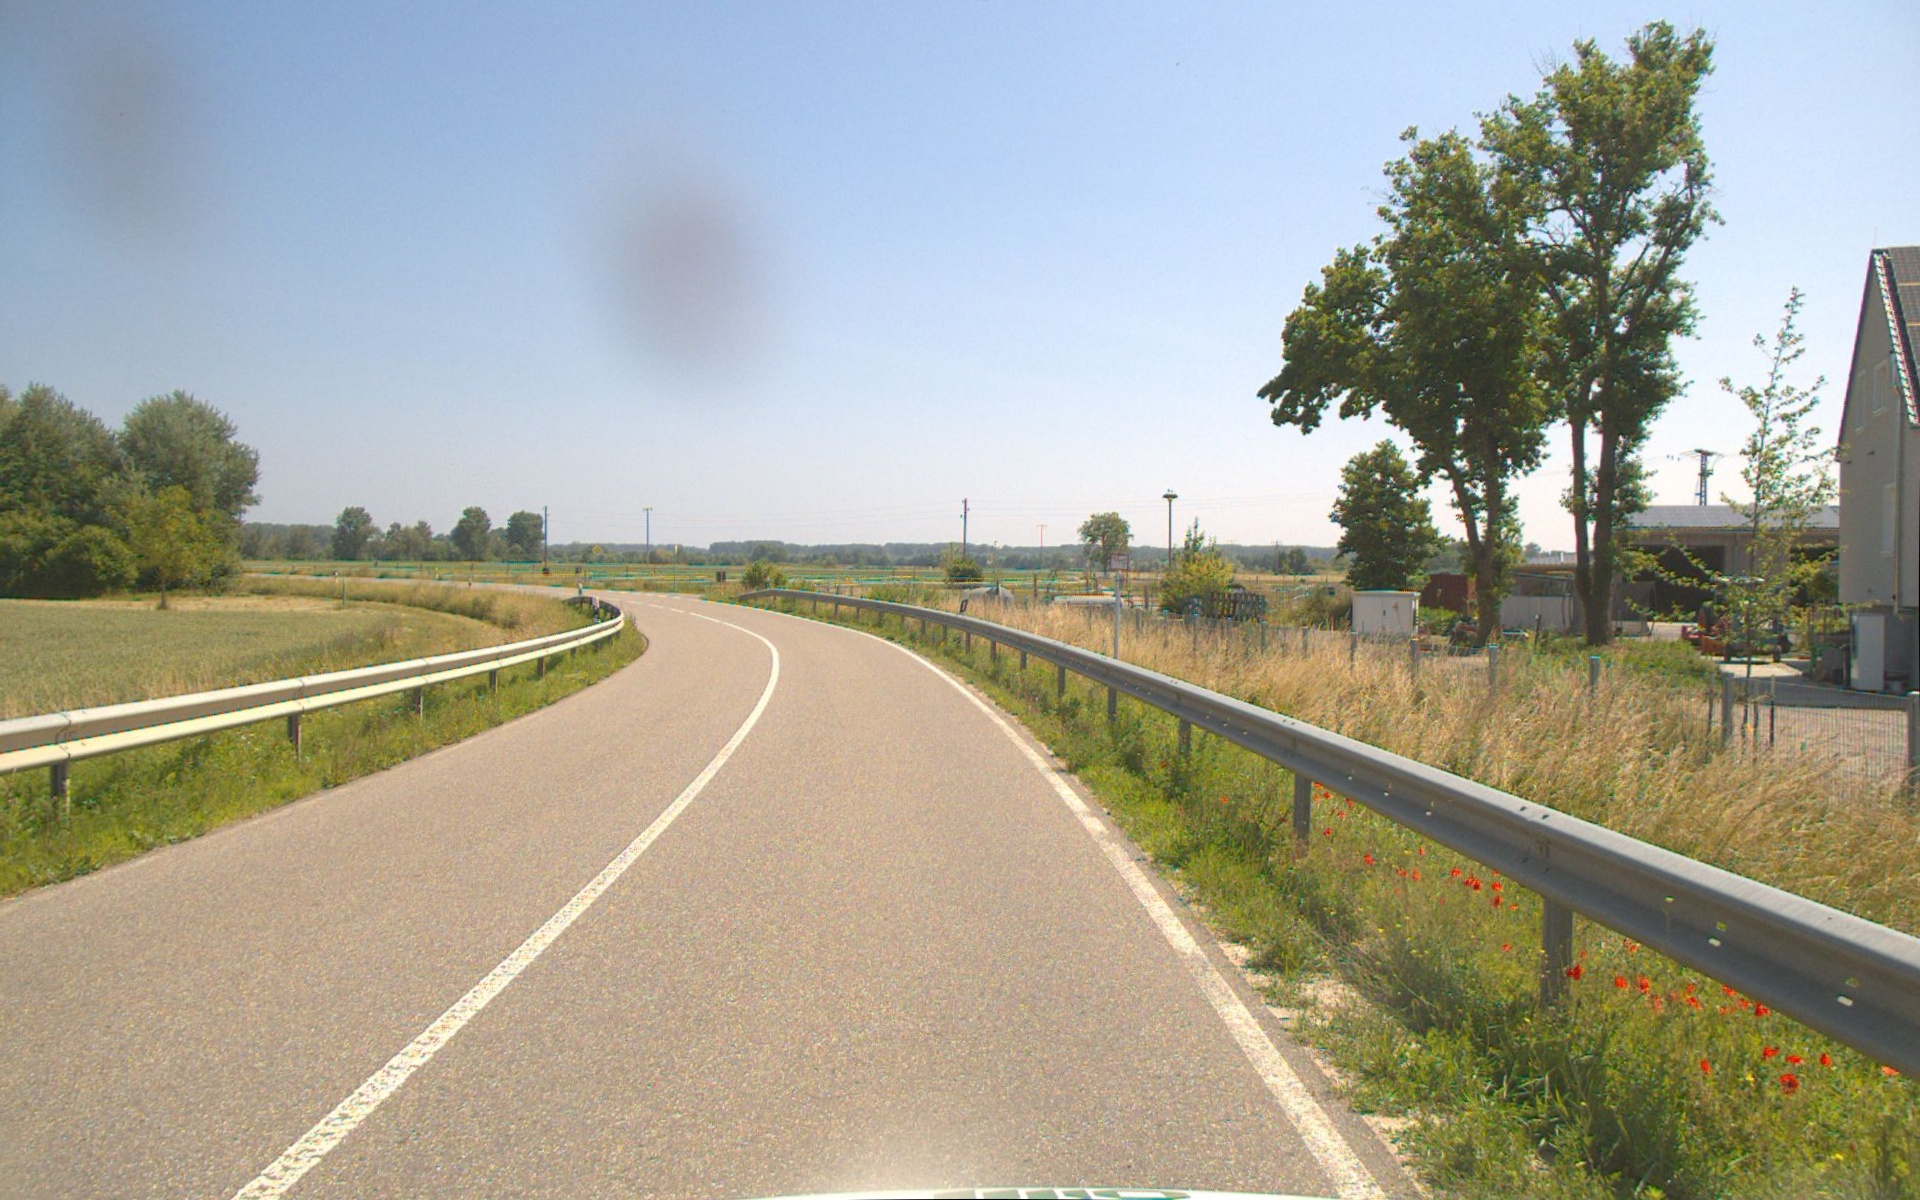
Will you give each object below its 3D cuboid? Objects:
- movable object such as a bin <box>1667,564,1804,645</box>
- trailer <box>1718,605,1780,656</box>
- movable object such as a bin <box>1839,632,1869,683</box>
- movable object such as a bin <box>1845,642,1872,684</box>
[{"bbox_3d":[29.614,0.086,63.441,2.938,2.818,6.511,2,1,9],"label":"movable object such as a bin"},{"bbox_3d":[25.109,0.972,52.577,1.677,1.522,3.137,1,-1,27],"label":"trailer"},{"bbox_3d":[21.317,1.372,39.456,0.565,1.170,0.661,1,1,24],"label":"movable object such as a bin"},{"bbox_3d":[21.122,1.475,38.868,0.492,0.926,0.559,1,1,24],"label":"movable object such as a bin"}]
